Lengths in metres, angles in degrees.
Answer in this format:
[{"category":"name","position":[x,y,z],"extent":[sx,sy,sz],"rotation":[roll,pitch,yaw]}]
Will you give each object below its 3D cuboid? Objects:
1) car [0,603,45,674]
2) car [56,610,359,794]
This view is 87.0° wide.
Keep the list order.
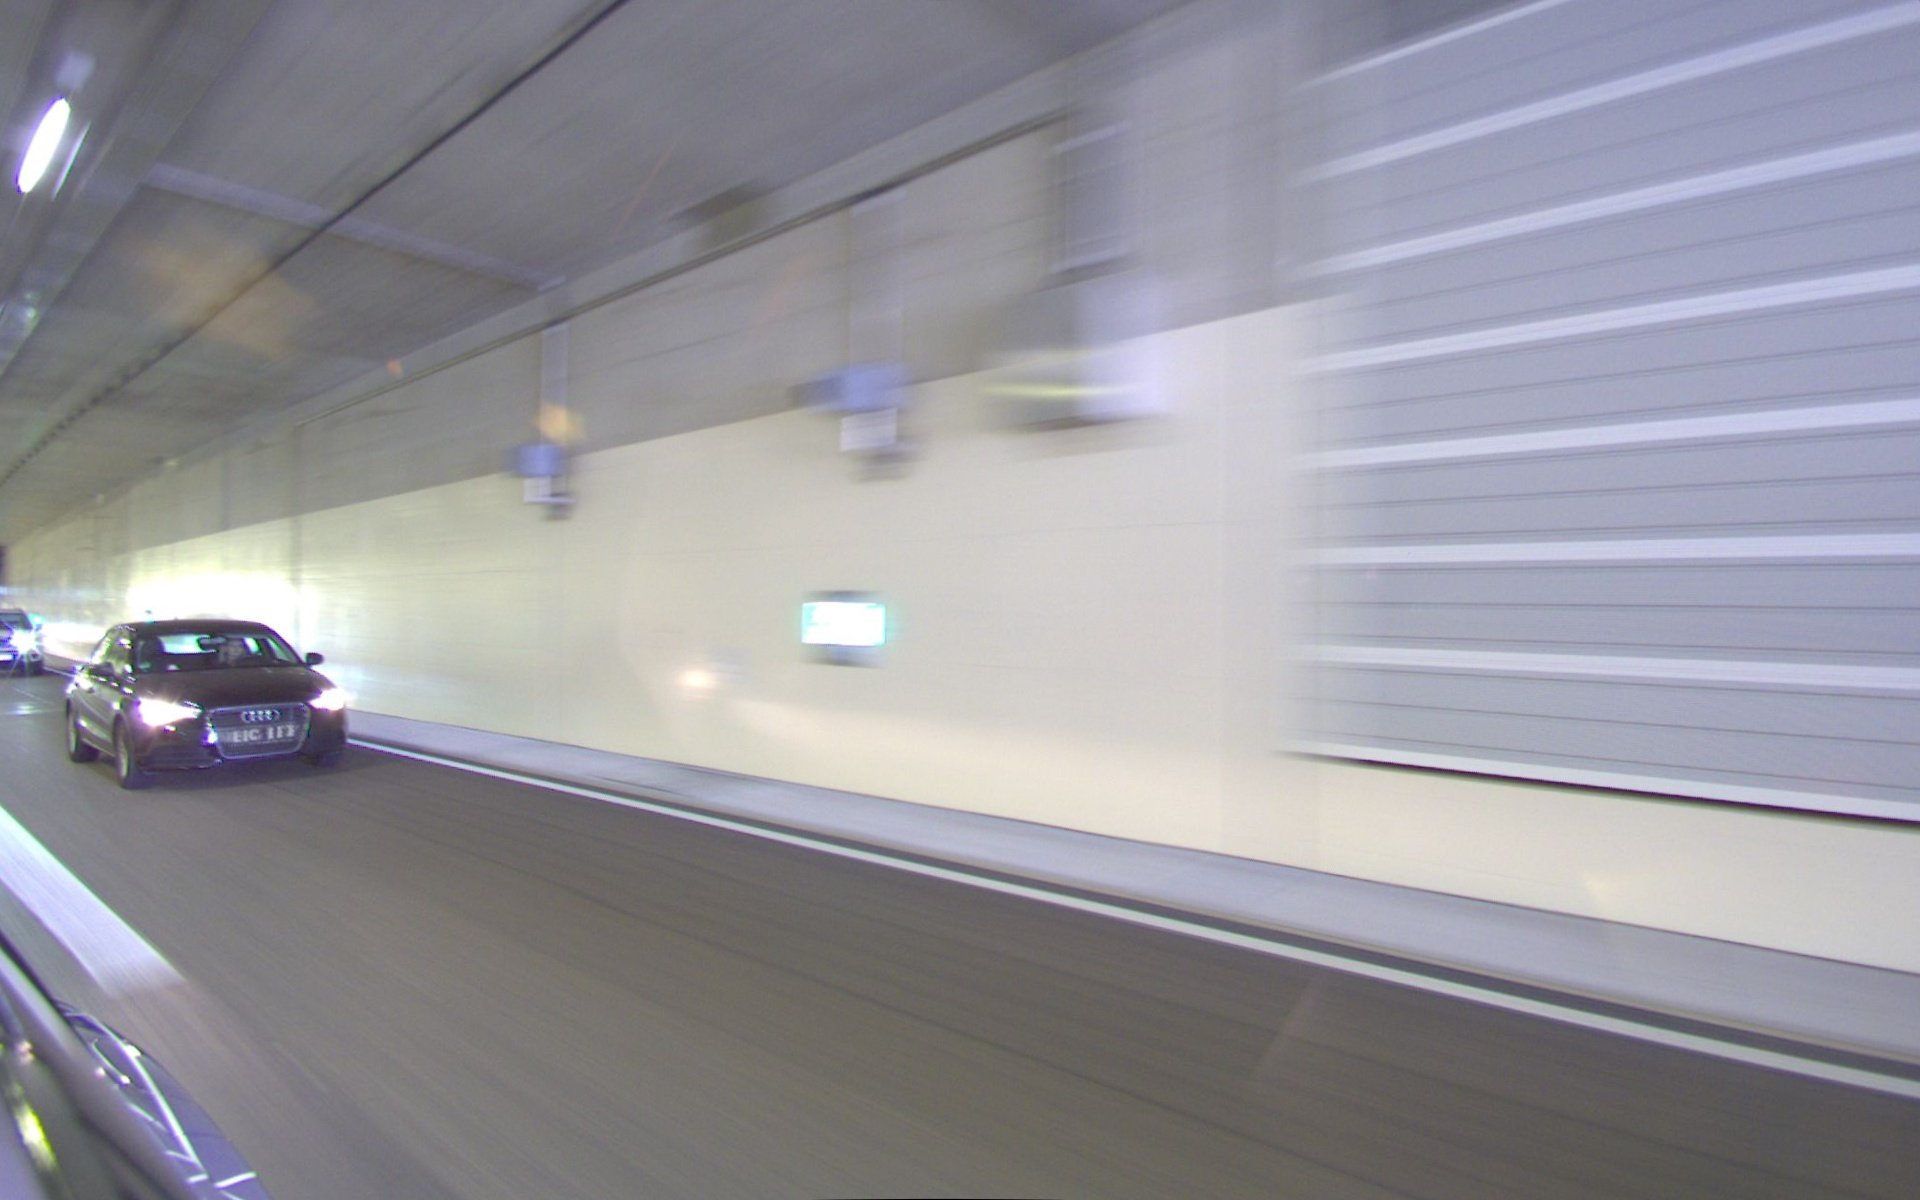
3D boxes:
[{"category":"car","position":[-24.264,0.973,25.232],"extent":[3.970,1.681,1.830],"rotation":[-2,-2,43]},{"category":"car","position":[-7.502,0.848,9.947],"extent":[3.887,1.429,1.677],"rotation":[-1,-1,42]}]
